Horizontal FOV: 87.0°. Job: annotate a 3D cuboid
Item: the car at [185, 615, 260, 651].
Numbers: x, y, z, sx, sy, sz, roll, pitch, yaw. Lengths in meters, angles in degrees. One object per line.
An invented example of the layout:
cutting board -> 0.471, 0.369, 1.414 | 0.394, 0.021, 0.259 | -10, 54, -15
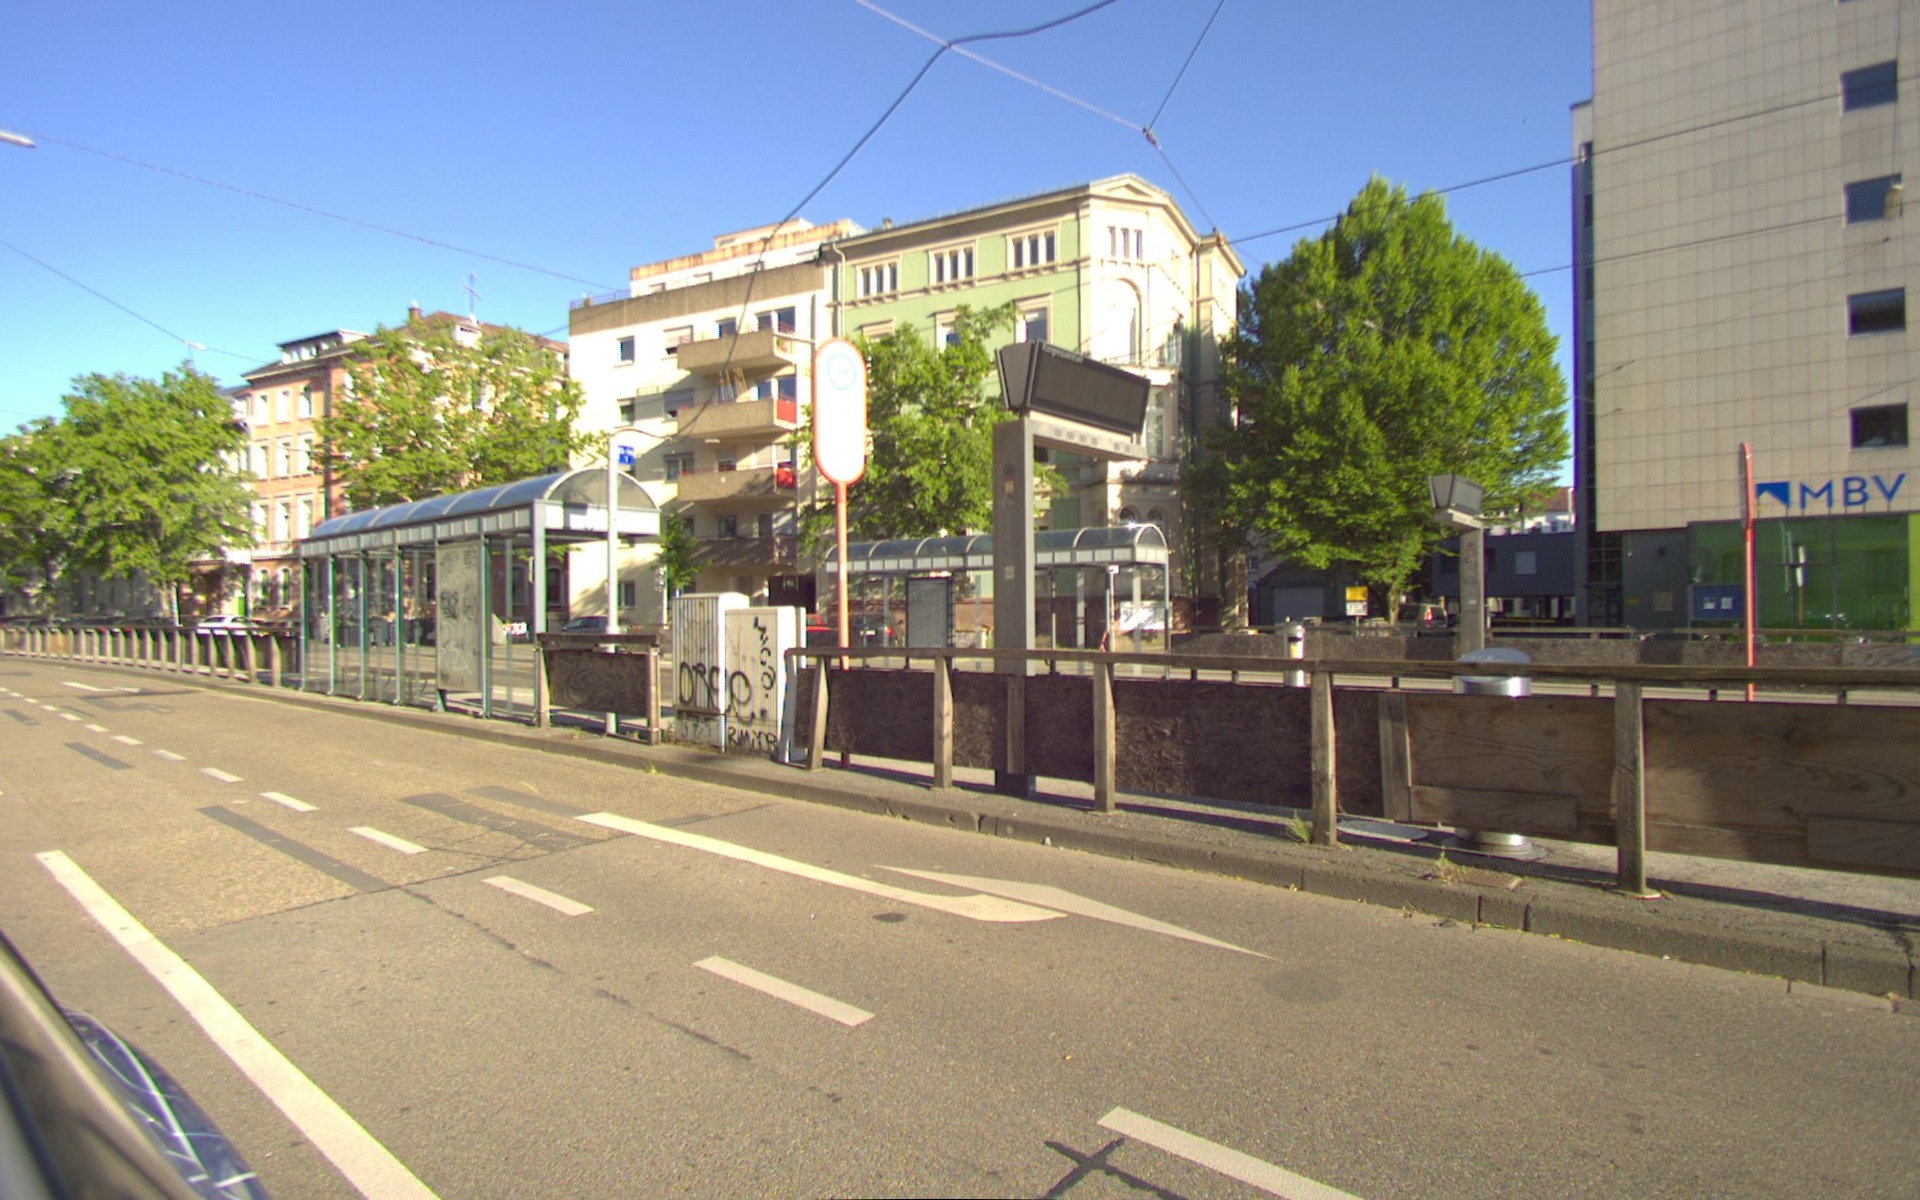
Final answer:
car -> -39.527, 1.744, 54.376 | 1.966, 1.736, 4.012 | 0, 1, -15

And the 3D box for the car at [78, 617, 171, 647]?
car -> -47.982, 1.816, 58.158 | 2.001, 1.697, 3.942 | -2, -2, 44

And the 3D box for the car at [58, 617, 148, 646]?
car -> -51.300, 1.879, 60.630 | 2.001, 1.697, 3.942 | -2, -2, 44

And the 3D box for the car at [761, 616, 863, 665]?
car -> -5.006, 1.361, 34.692 | 1.763, 1.547, 3.763 | -1, -2, 23

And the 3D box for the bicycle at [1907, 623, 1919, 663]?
bicycle -> 19.825, 0.852, 19.800 | 1.852, 0.793, 0.529 | -1, -2, 41

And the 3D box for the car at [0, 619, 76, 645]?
car -> -59.617, 2.049, 65.270 | 3.811, 1.604, 2.001 | 1, -2, -45

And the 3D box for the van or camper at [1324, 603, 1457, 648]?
van or camper -> 15.500, 0.884, 36.550 | 3.998, 1.417, 1.943 | 2, 0, 41

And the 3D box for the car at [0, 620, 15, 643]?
car -> -68.106, 2.181, 70.114 | 2.001, 1.604, 3.812 | -2, -2, 44

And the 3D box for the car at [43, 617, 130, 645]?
car -> -54.307, 1.924, 62.959 | 2.001, 1.697, 3.942 | -2, -2, 44

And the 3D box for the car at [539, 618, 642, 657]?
car -> -14.008, 1.408, 38.397 | 3.498, 1.406, 1.602 | -1, -2, 22
